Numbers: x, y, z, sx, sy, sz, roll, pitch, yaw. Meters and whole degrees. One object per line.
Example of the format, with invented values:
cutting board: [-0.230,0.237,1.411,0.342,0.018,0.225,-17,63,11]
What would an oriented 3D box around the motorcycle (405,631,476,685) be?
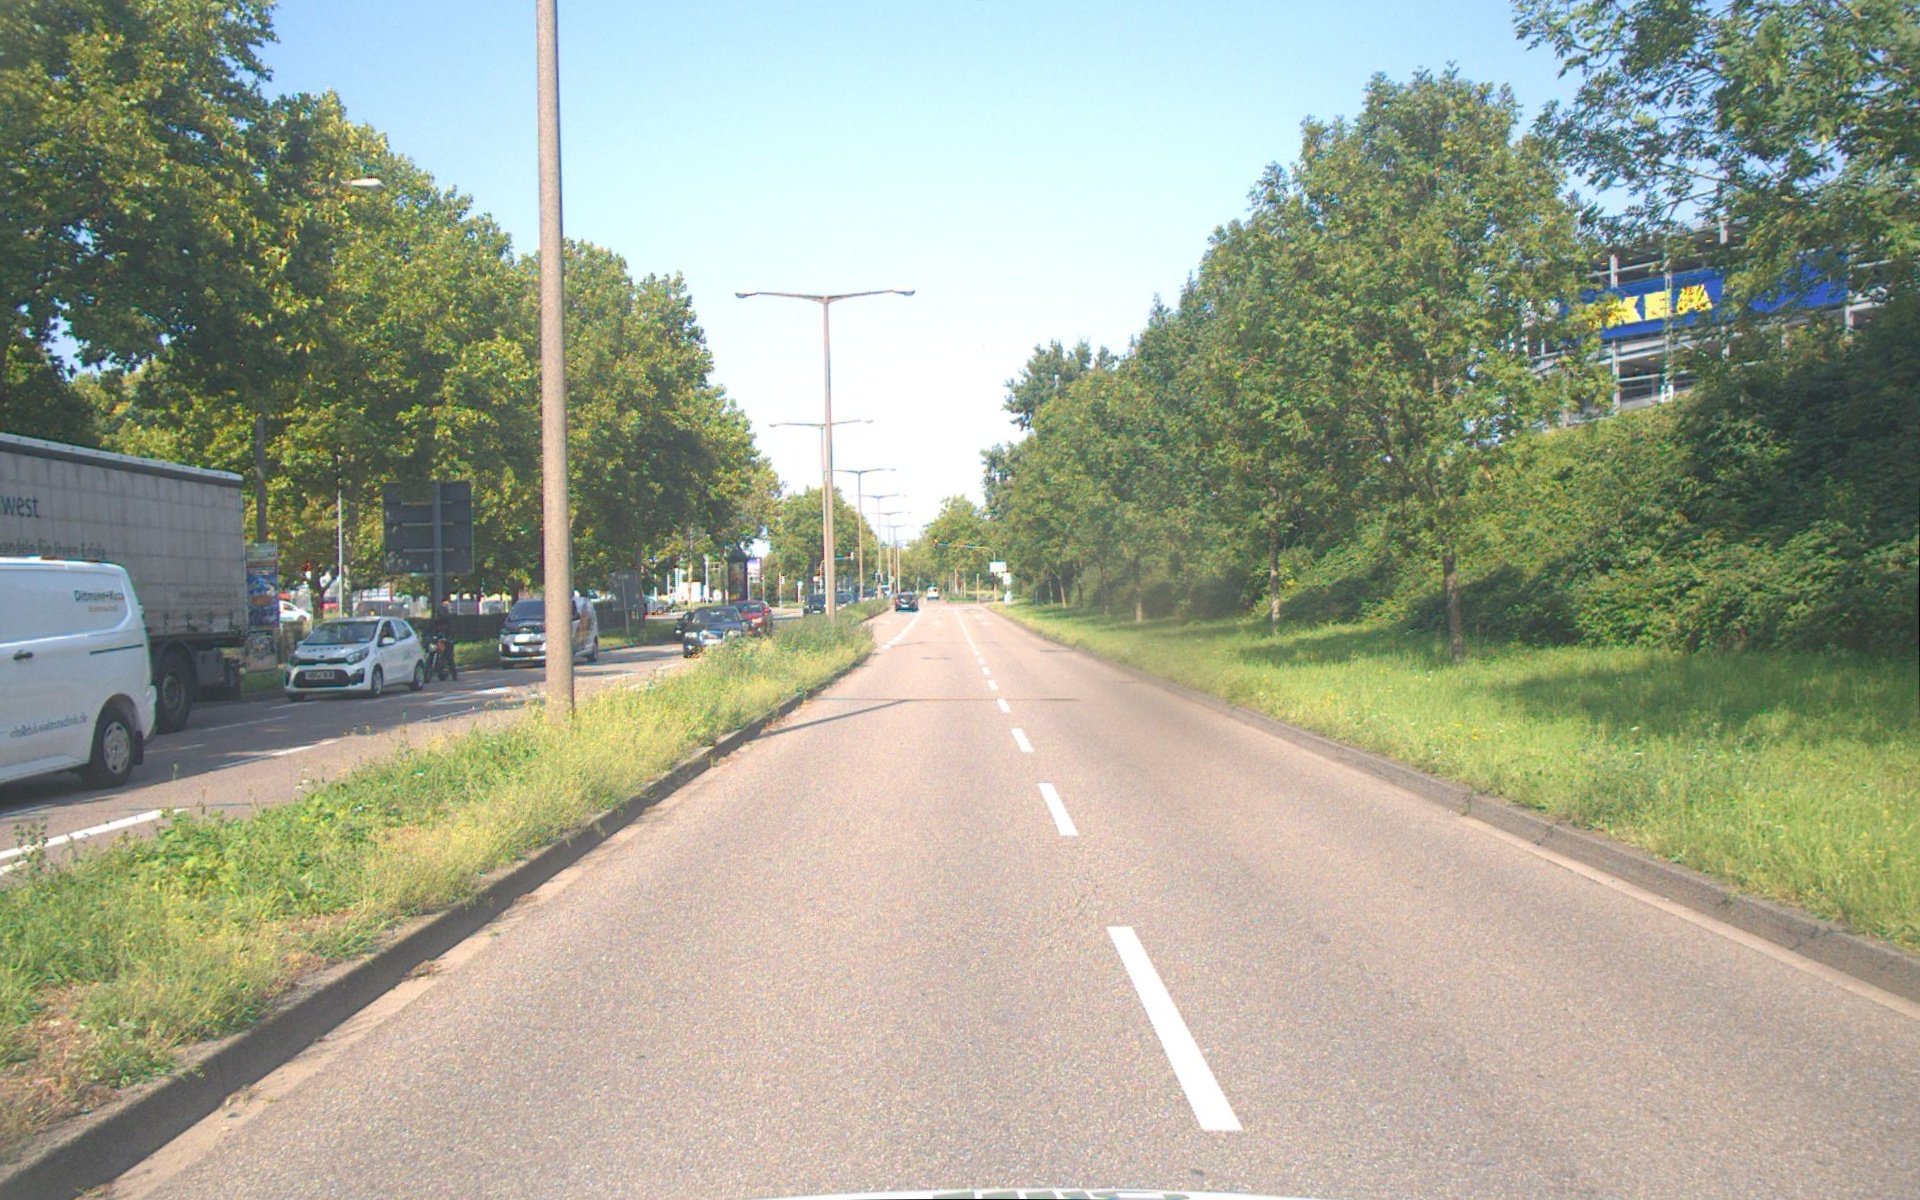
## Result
motorcycle: [-11.575,1.271,36.929,0.778,1.126,2.467,-1,0,0]

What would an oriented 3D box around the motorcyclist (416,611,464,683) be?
motorcyclist: [-11.579,1.037,36.862,0.762,1.581,0.922,-1,0,0]

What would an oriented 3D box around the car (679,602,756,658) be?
car: [-7.168,0.870,49.339,1.711,1.505,4.584,-3,0,-2]

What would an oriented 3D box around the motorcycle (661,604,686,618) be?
motorcycle: [-24.741,0.956,142.976,2.053,1.156,0.669,-1,-1,-37]

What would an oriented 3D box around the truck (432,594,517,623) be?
truck: [-56.740,0.965,193.393,8.918,3.009,3.468,-2,0,-37]

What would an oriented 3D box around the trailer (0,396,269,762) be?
trailer: [-11.447,-0.169,17.342,2.580,3.888,13.809,-3,0,-1]

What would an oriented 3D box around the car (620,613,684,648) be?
car: [-12.760,1.242,68.706,1.754,1.285,4.096,-3,0,1]

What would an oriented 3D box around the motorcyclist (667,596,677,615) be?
motorcyclist: [-24.872,0.501,142.894,0.676,1.599,0.674,0,-1,-37]

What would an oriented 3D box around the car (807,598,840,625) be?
car: [-9.379,0.761,113.857,1.953,1.790,4.476,-1,0,0]

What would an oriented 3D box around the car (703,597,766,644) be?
car: [-9.033,0.798,66.629,1.914,1.754,4.586,-1,0,0]

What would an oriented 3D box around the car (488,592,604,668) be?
car: [-11.470,0.798,46.175,1.944,1.891,4.968,-3,0,0]

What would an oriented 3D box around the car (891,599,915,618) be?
car: [-4.729,0.700,137.472,1.657,1.512,4.001,-1,0,2]

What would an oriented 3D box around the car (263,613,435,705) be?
car: [-11.367,1.054,31.037,1.710,1.505,3.831,-2,0,0]

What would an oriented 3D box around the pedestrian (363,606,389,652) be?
pedestrian: [-21.524,1.059,60.989,0.604,1.681,0.933,-1,0,-1]

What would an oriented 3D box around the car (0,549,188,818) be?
car: [-8.078,0.652,12.682,1.953,1.988,5.035,-2,0,-1]

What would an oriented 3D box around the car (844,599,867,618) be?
car: [-9.054,0.733,143.608,1.841,1.622,4.107,0,-1,-1]

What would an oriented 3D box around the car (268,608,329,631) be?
car: [-50.277,1.490,125.685,3.963,1.709,1.843,0,0,-40]
